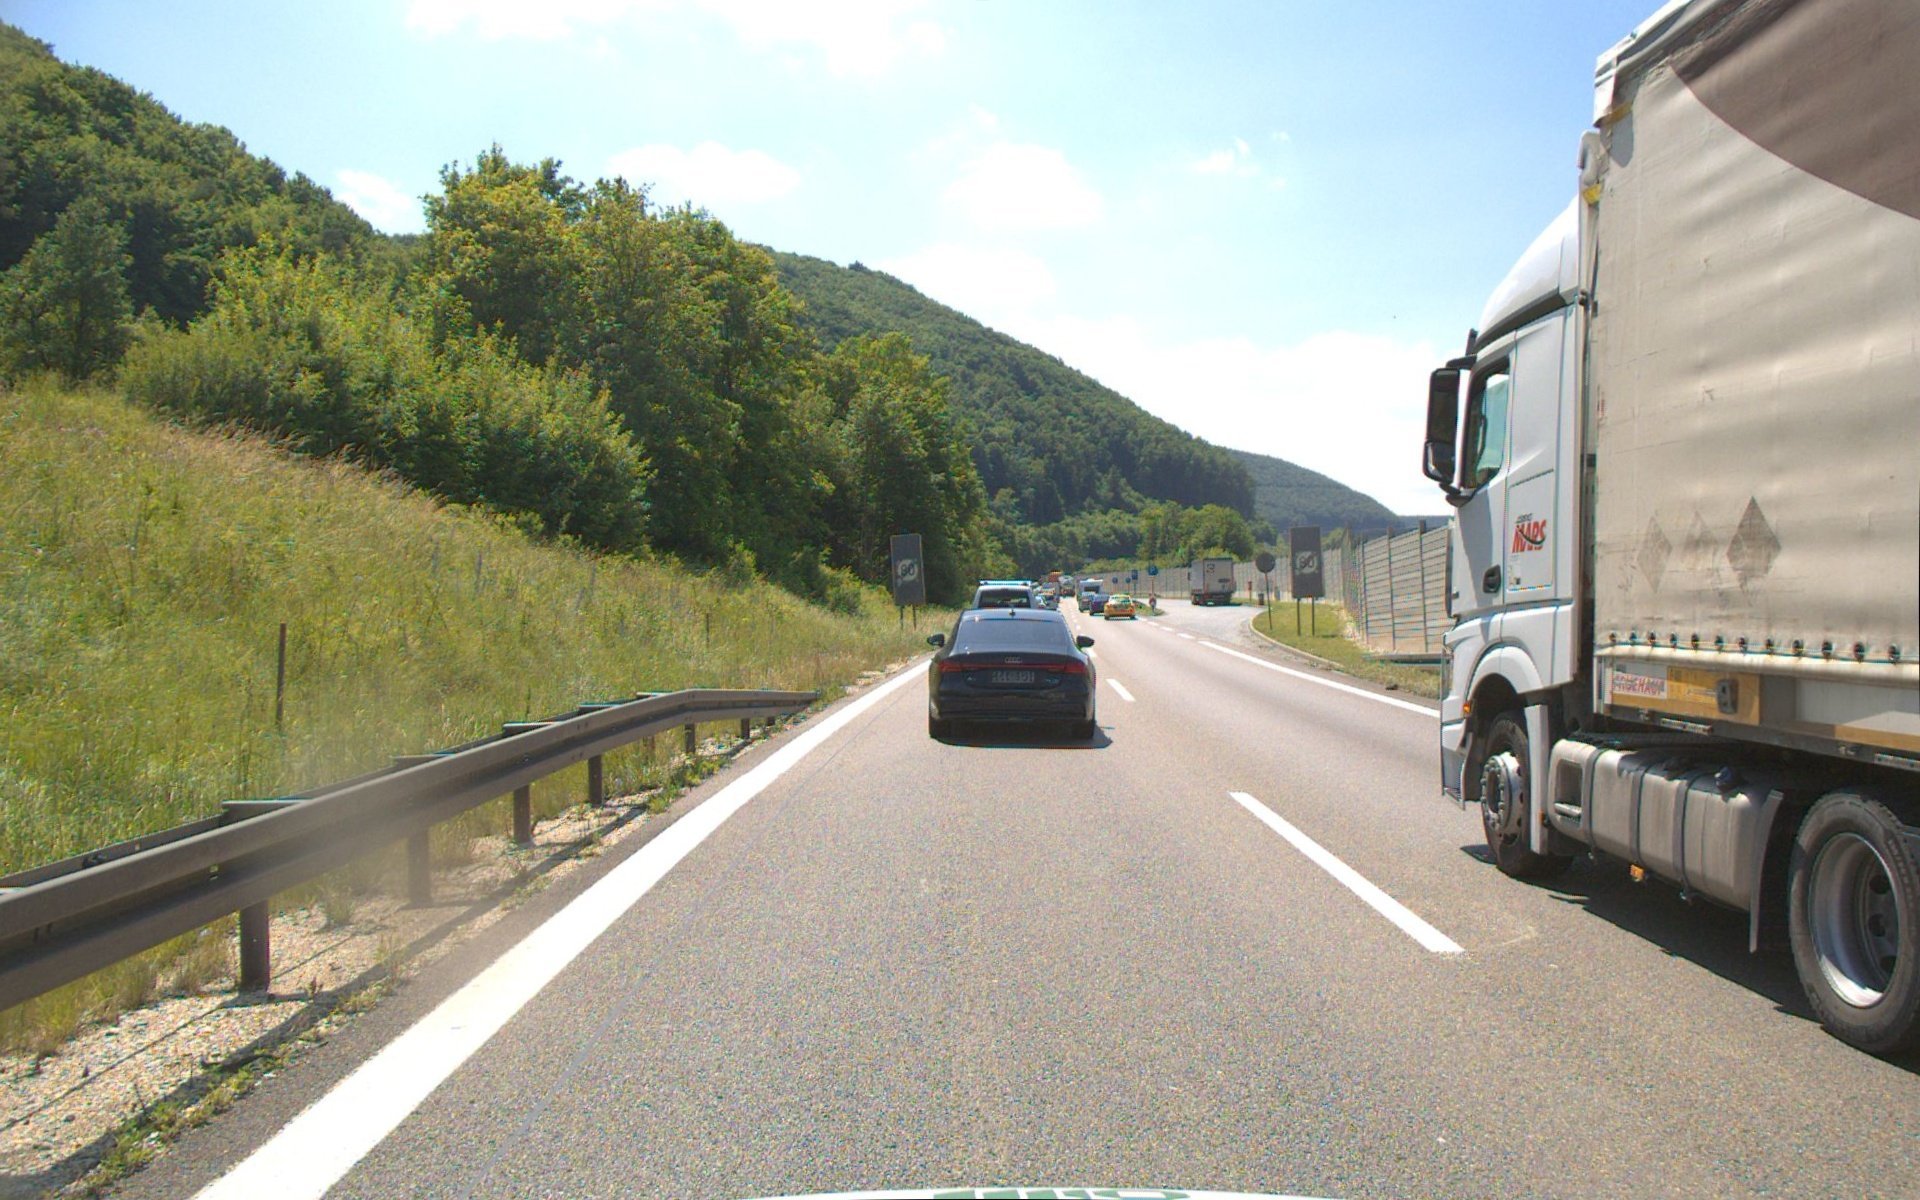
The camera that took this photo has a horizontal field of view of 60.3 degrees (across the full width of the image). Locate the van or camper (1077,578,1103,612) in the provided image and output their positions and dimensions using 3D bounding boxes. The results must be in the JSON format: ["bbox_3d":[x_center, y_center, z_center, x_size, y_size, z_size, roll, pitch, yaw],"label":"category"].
[{"bbox_3d":[12.844,-0.468,163.711,2.378,3.210,5.205,1,-1,4],"label":"van or camper"}]

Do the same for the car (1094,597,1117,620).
[{"bbox_3d":[10.148,0.590,115.659,1.498,1.552,3.598,1,-1,4],"label":"car"}]

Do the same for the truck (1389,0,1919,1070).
[{"bbox_3d":[4.290,-0.543,8.164,2.664,4.139,5.751,0,-1,-2],"label":"truck"}]

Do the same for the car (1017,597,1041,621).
[{"bbox_3d":[4.850,0.645,116.055,1.489,1.580,3.516,2,0,4],"label":"car"}]

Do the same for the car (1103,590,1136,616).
[{"bbox_3d":[9.600,0.169,99.839,1.839,1.525,4.002,0,0,4],"label":"car"}]

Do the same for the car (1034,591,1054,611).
[{"bbox_3d":[7.042,0.115,138.625,1.489,1.580,3.516,2,0,5],"label":"car"}]

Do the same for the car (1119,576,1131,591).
[{"bbox_3d":[23.395,-2.378,234.363,1.543,2.049,3.430,-1,0,4],"label":"car"}]

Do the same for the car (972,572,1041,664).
[{"bbox_3d":[1.051,0.409,38.704,1.490,2.003,3.514,2,0,0],"label":"car"}]

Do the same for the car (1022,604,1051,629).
[{"bbox_3d":[4.202,0.890,90.934,1.489,1.317,3.515,1,0,1],"label":"car"}]

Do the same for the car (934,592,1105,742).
[{"bbox_3d":[0.600,0.703,19.081,1.775,1.541,3.513,1,0,-1],"label":"car"}]

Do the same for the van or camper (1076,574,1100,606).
[{"bbox_3d":[16.315,-1.232,211.662,2.737,3.975,6.168,1,-1,2],"label":"van or camper"}]

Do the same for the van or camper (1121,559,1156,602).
[{"bbox_3d":[16.741,-1.800,155.119,2.737,3.909,6.168,1,-1,2],"label":"van or camper"}]

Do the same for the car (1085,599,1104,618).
[{"bbox_3d":[11.018,0.700,135.775,1.498,1.552,3.598,1,-1,4],"label":"car"}]

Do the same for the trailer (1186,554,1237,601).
[{"bbox_3d":[22.006,-1.938,145.418,3.340,3.968,11.156,0,0,3],"label":"trailer"}]

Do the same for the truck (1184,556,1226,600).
[{"bbox_3d":[22.394,-1.992,151.598,3.340,3.968,5.390,0,0,3],"label":"truck"}]

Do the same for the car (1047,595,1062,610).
[{"bbox_3d":[10.048,0.282,176.022,1.489,1.580,3.516,2,0,5],"label":"car"}]

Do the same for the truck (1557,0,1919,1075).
[{"bbox_3d":[4.536,-0.594,1.330,2.671,4.139,13.734,0,0,-2],"label":"truck"}]

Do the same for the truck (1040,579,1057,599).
[{"bbox_3d":[11.911,-1.471,223.253,2.021,2.651,5.617,2,0,5],"label":"truck"}]
